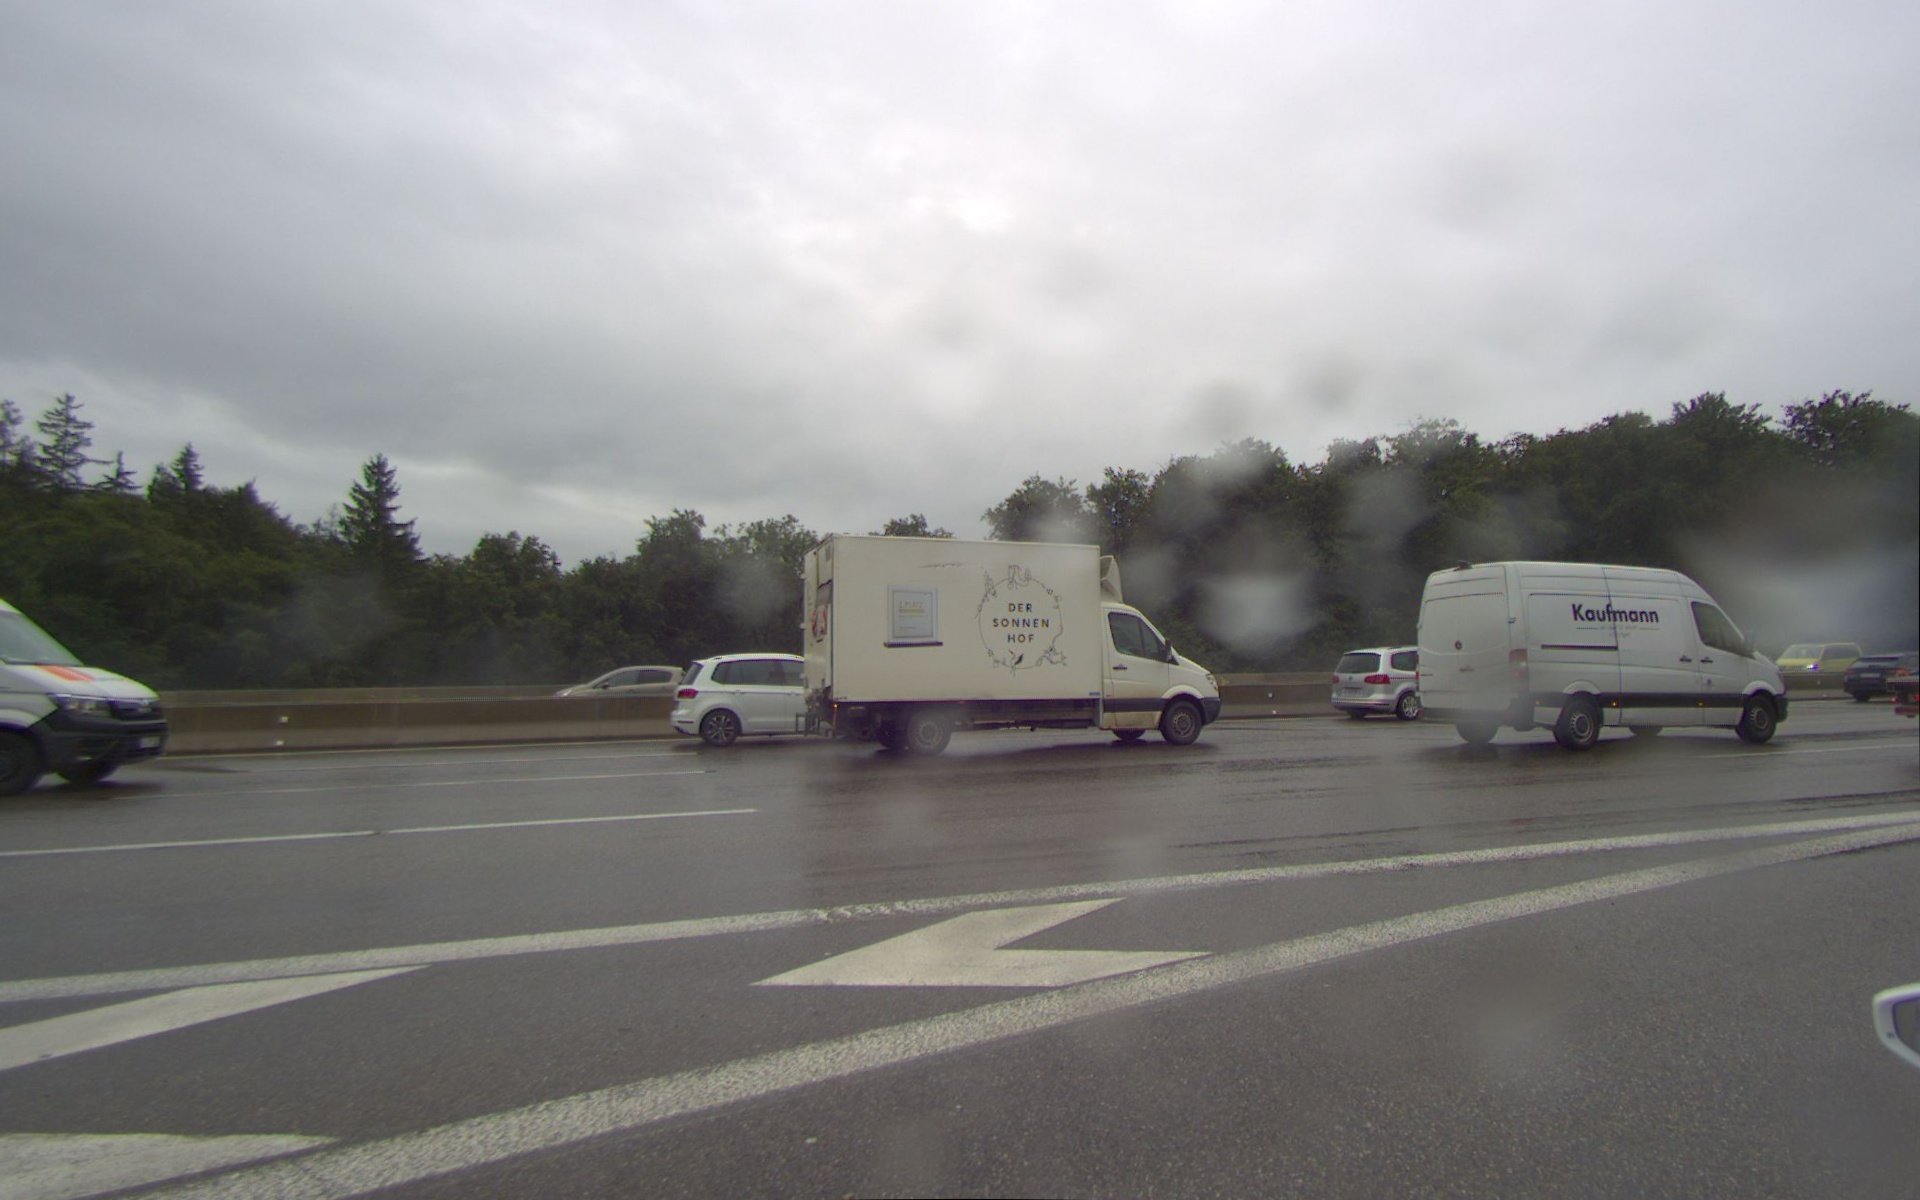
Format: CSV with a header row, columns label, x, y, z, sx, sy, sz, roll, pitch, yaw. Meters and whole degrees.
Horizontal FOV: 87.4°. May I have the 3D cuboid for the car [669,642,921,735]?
label,x,y,z,sx,sy,sz,roll,pitch,yaw
car,-3.005,1.563,18.271,4.345,1.542,1.614,1,-3,-18

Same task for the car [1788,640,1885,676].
label,x,y,z,sx,sy,sz,roll,pitch,yaw
car,43.130,2.861,49.441,4.568,1.745,1.597,1,-3,-21

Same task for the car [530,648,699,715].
label,x,y,z,sx,sy,sz,roll,pitch,yaw
car,-9.376,2.191,27.471,4.200,1.717,1.992,1,-3,-20

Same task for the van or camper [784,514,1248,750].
label,x,y,z,sx,sy,sz,roll,pitch,yaw
van or camper,0.883,0.572,16.186,7.021,3.245,2.577,1,-3,-19

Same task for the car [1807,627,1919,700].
label,x,y,z,sx,sy,sz,roll,pitch,yaw
car,27.939,1.928,30.351,3.938,2.040,1.796,2,0,-19

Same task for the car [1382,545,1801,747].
label,x,y,z,sx,sy,sz,roll,pitch,yaw
car,9.545,0.720,15.242,5.752,2.663,2.214,1,-3,-19

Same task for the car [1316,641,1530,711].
label,x,y,z,sx,sy,sz,roll,pitch,yaw
car,10.878,1.760,23.646,4.558,1.542,1.865,1,-3,-19

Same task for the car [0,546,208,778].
label,x,y,z,sx,sy,sz,roll,pitch,yaw
car,-13.148,0.684,11.172,7.249,2.520,2.147,1,-3,-18

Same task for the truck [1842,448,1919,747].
label,x,y,z,sx,sy,sz,roll,pitch,yaw
truck,17.360,0.009,13.581,11.617,3.635,2.829,1,-4,-20
